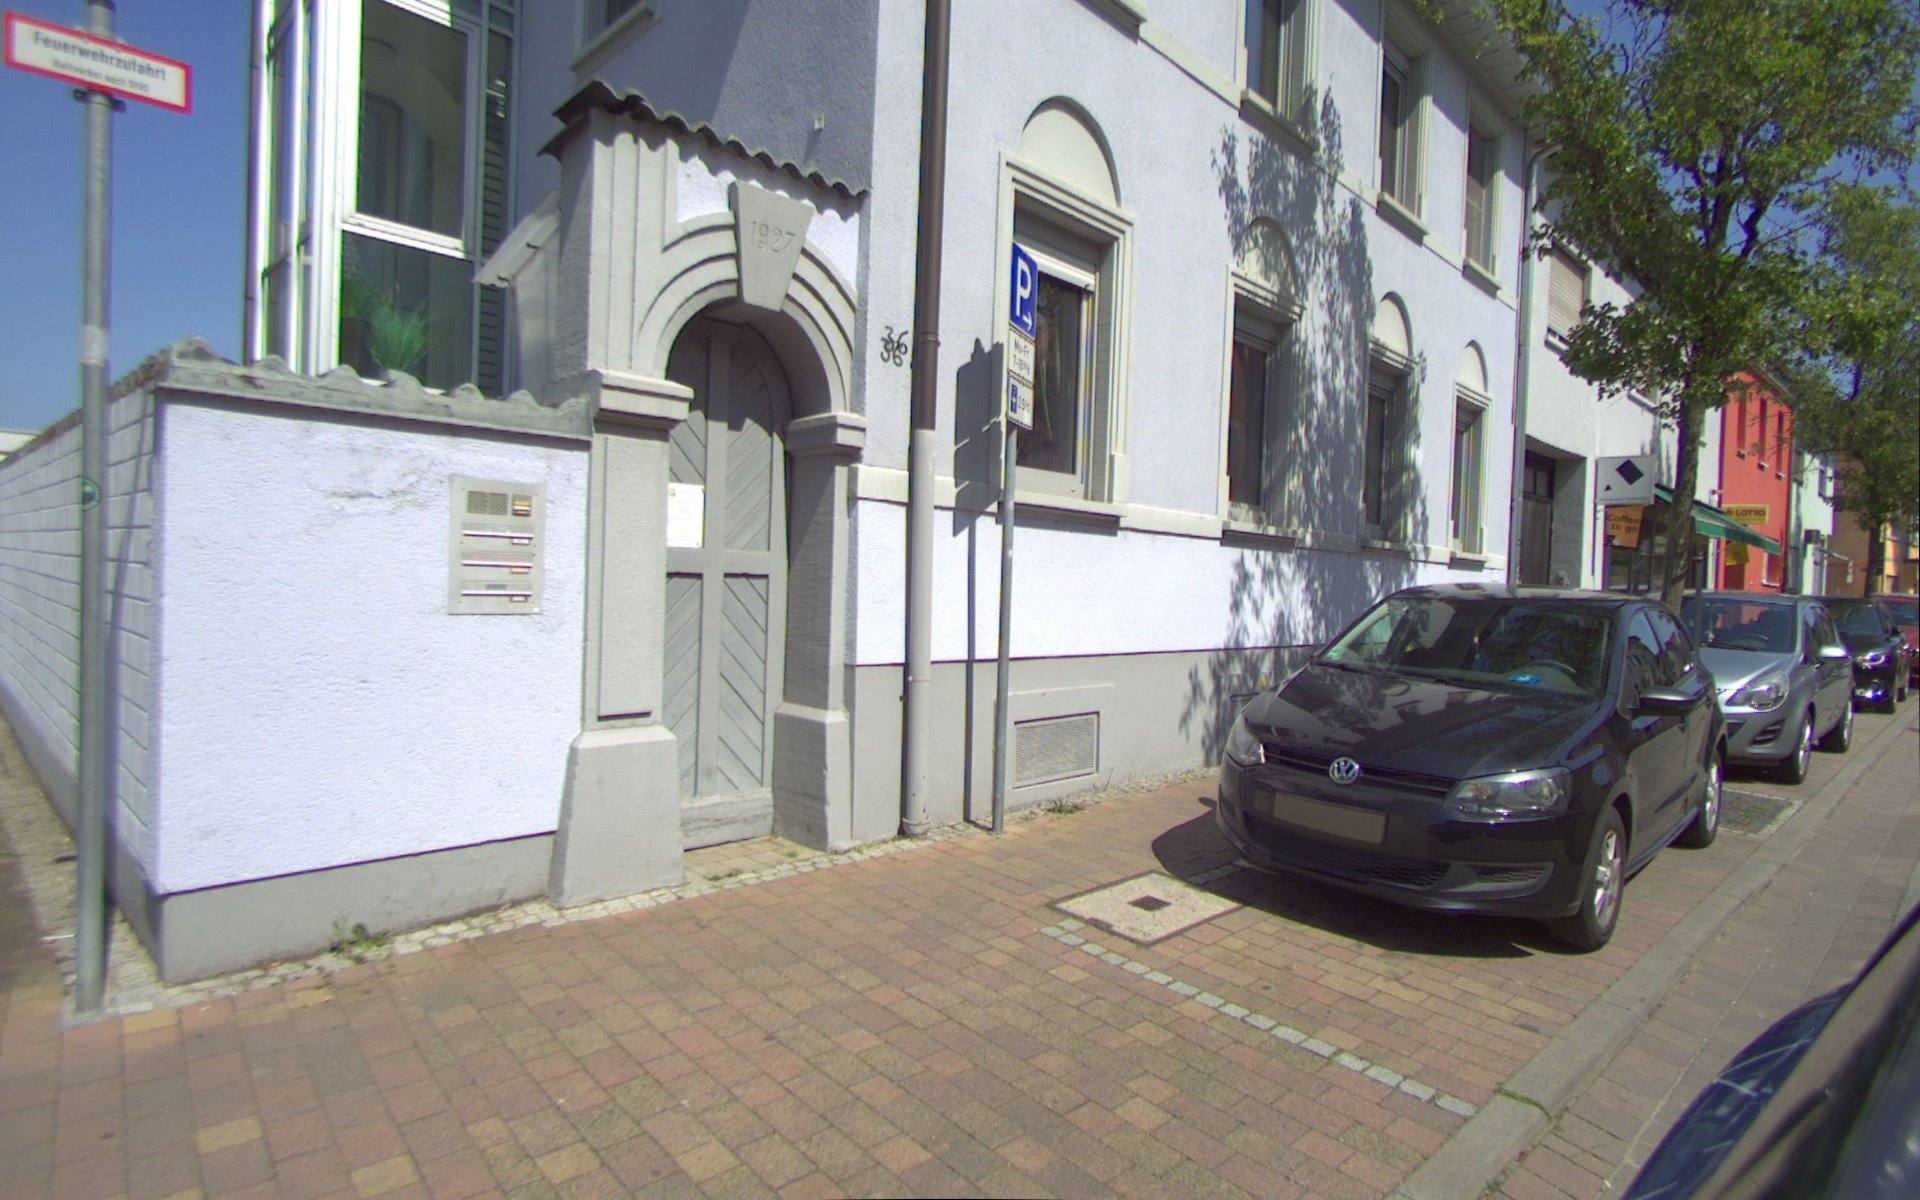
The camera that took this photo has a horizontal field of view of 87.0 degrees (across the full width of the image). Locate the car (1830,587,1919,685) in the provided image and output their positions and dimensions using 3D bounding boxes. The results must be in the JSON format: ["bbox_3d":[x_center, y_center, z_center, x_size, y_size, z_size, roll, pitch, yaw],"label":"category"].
[{"bbox_3d":[17.158,0.592,18.370,1.830,1.608,4.023,2,2,44],"label":"car"}]

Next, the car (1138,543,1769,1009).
[{"bbox_3d":[2.814,0.556,5.321,3.857,1.499,1.706,0,4,-44],"label":"car"}]

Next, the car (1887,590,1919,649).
[{"bbox_3d":[27.525,0.585,28.529,3.930,1.562,1.713,1,2,-43],"label":"car"}]

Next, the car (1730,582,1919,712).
[{"bbox_3d":[12.381,0.590,14.343,3.673,1.532,1.739,1,2,-44],"label":"car"}]

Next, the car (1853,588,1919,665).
[{"bbox_3d":[23.027,0.564,24.461,4.586,1.705,1.868,-1,1,-45],"label":"car"}]

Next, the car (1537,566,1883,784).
[{"bbox_3d":[6.948,0.517,9.220,4.025,1.499,1.721,0,3,-42],"label":"car"}]
